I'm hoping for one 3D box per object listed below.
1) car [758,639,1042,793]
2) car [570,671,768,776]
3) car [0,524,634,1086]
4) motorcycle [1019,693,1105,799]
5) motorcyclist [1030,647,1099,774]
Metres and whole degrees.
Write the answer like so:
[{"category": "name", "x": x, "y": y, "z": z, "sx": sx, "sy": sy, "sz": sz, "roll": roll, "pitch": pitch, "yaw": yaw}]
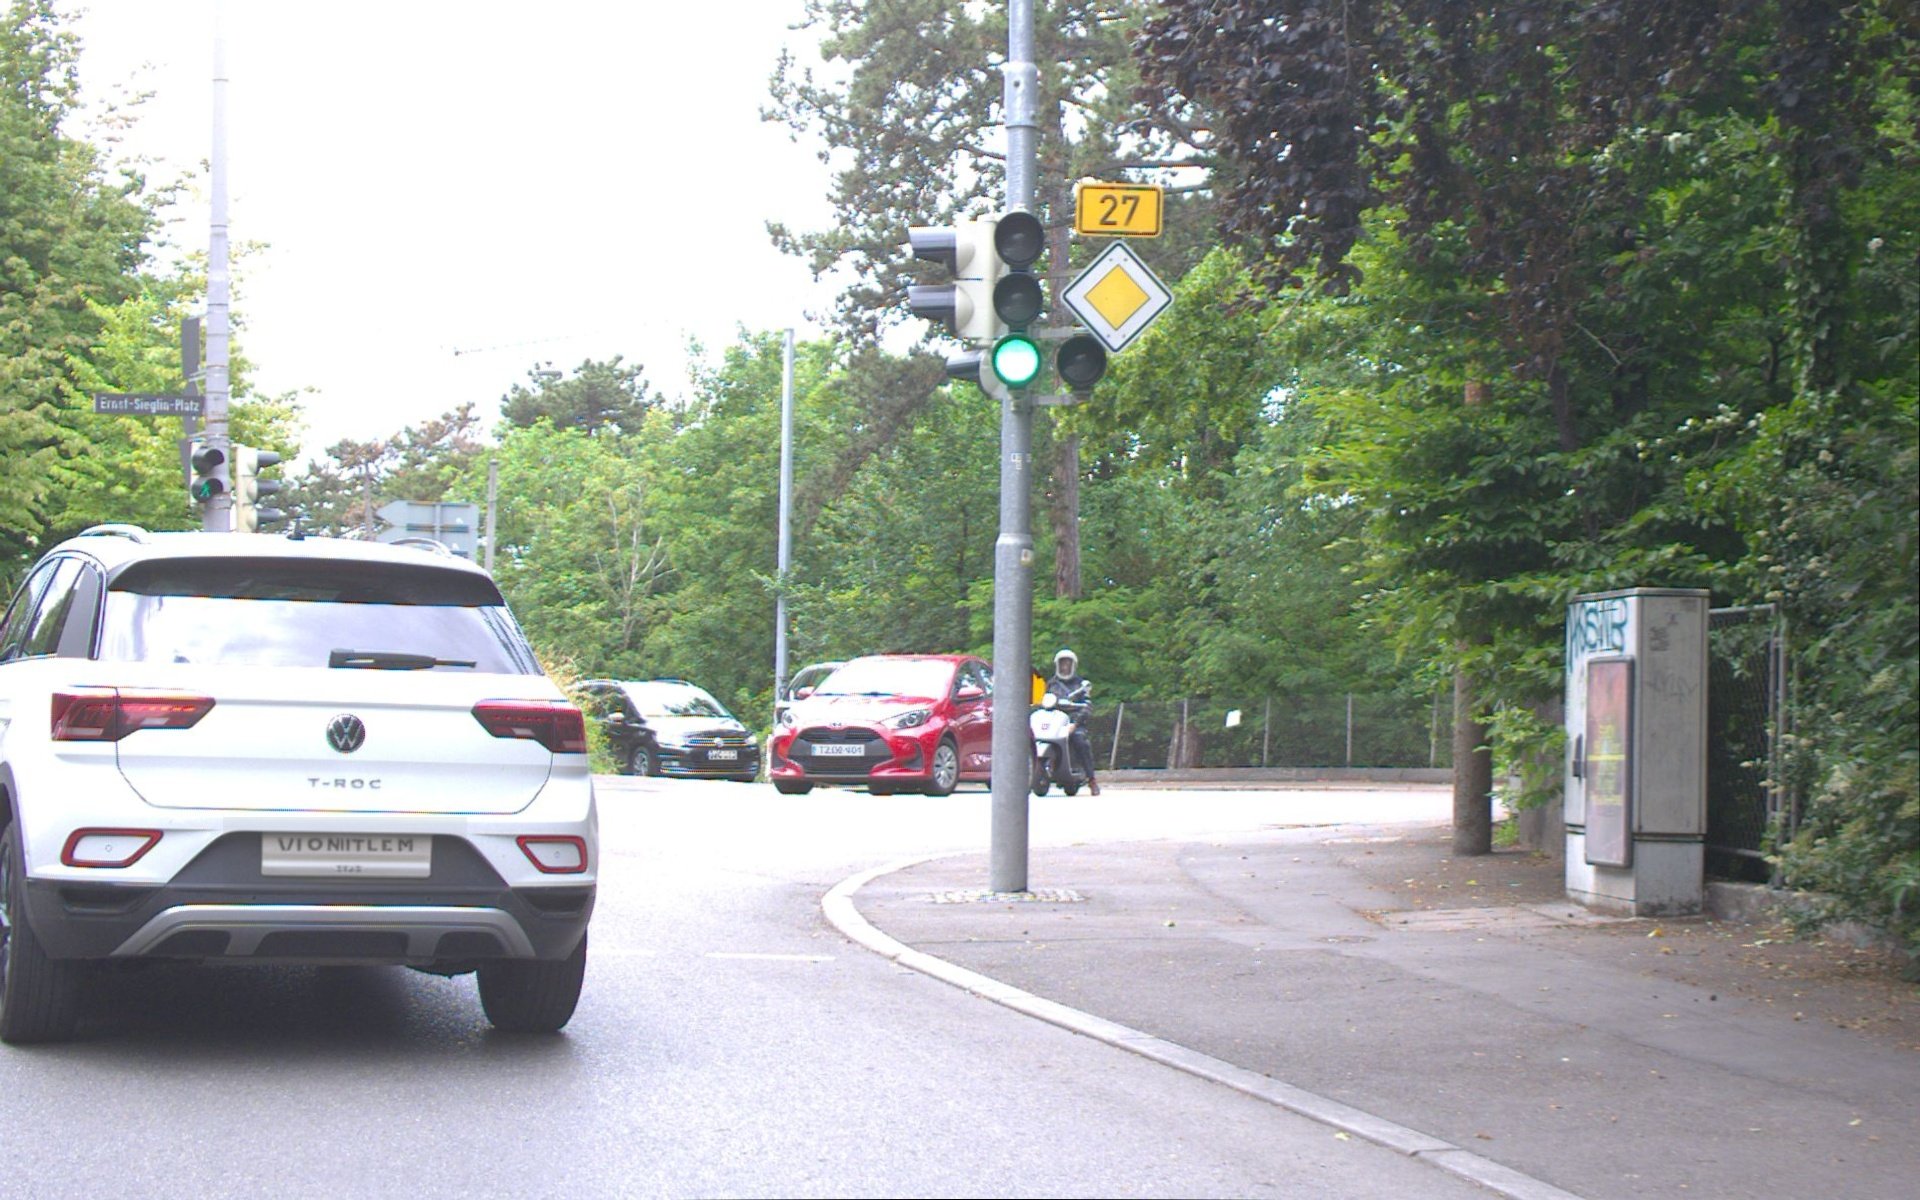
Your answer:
[{"category": "car", "x": -0.538, "y": 1.201, "z": 34.850, "sx": 1.669, "sy": 1.463, "sz": 3.951, "roll": 0, "pitch": -3, "yaw": 18}, {"category": "car", "x": -4.388, "y": 1.856, "z": 51.352, "sx": 1.716, "sy": 1.480, "sz": 4.000, "roll": 2, "pitch": -3, "yaw": -24}, {"category": "car", "x": -2.596, "y": 0.533, "z": 11.786, "sx": 1.754, "sy": 1.547, "sz": 4.339, "roll": 0, "pitch": 1, "yaw": -22}, {"category": "motorcycle", "x": 1.156, "y": 1.633, "z": 38.774, "sx": 0.599, "sy": 1.148, "sz": 1.580, "roll": -1, "pitch": -1, "yaw": 16}, {"category": "motorcyclist", "x": 1.185, "y": 1.243, "z": 38.870, "sx": 0.600, "sy": 1.425, "sz": 0.756, "roll": -1, "pitch": -1, "yaw": 16}]
